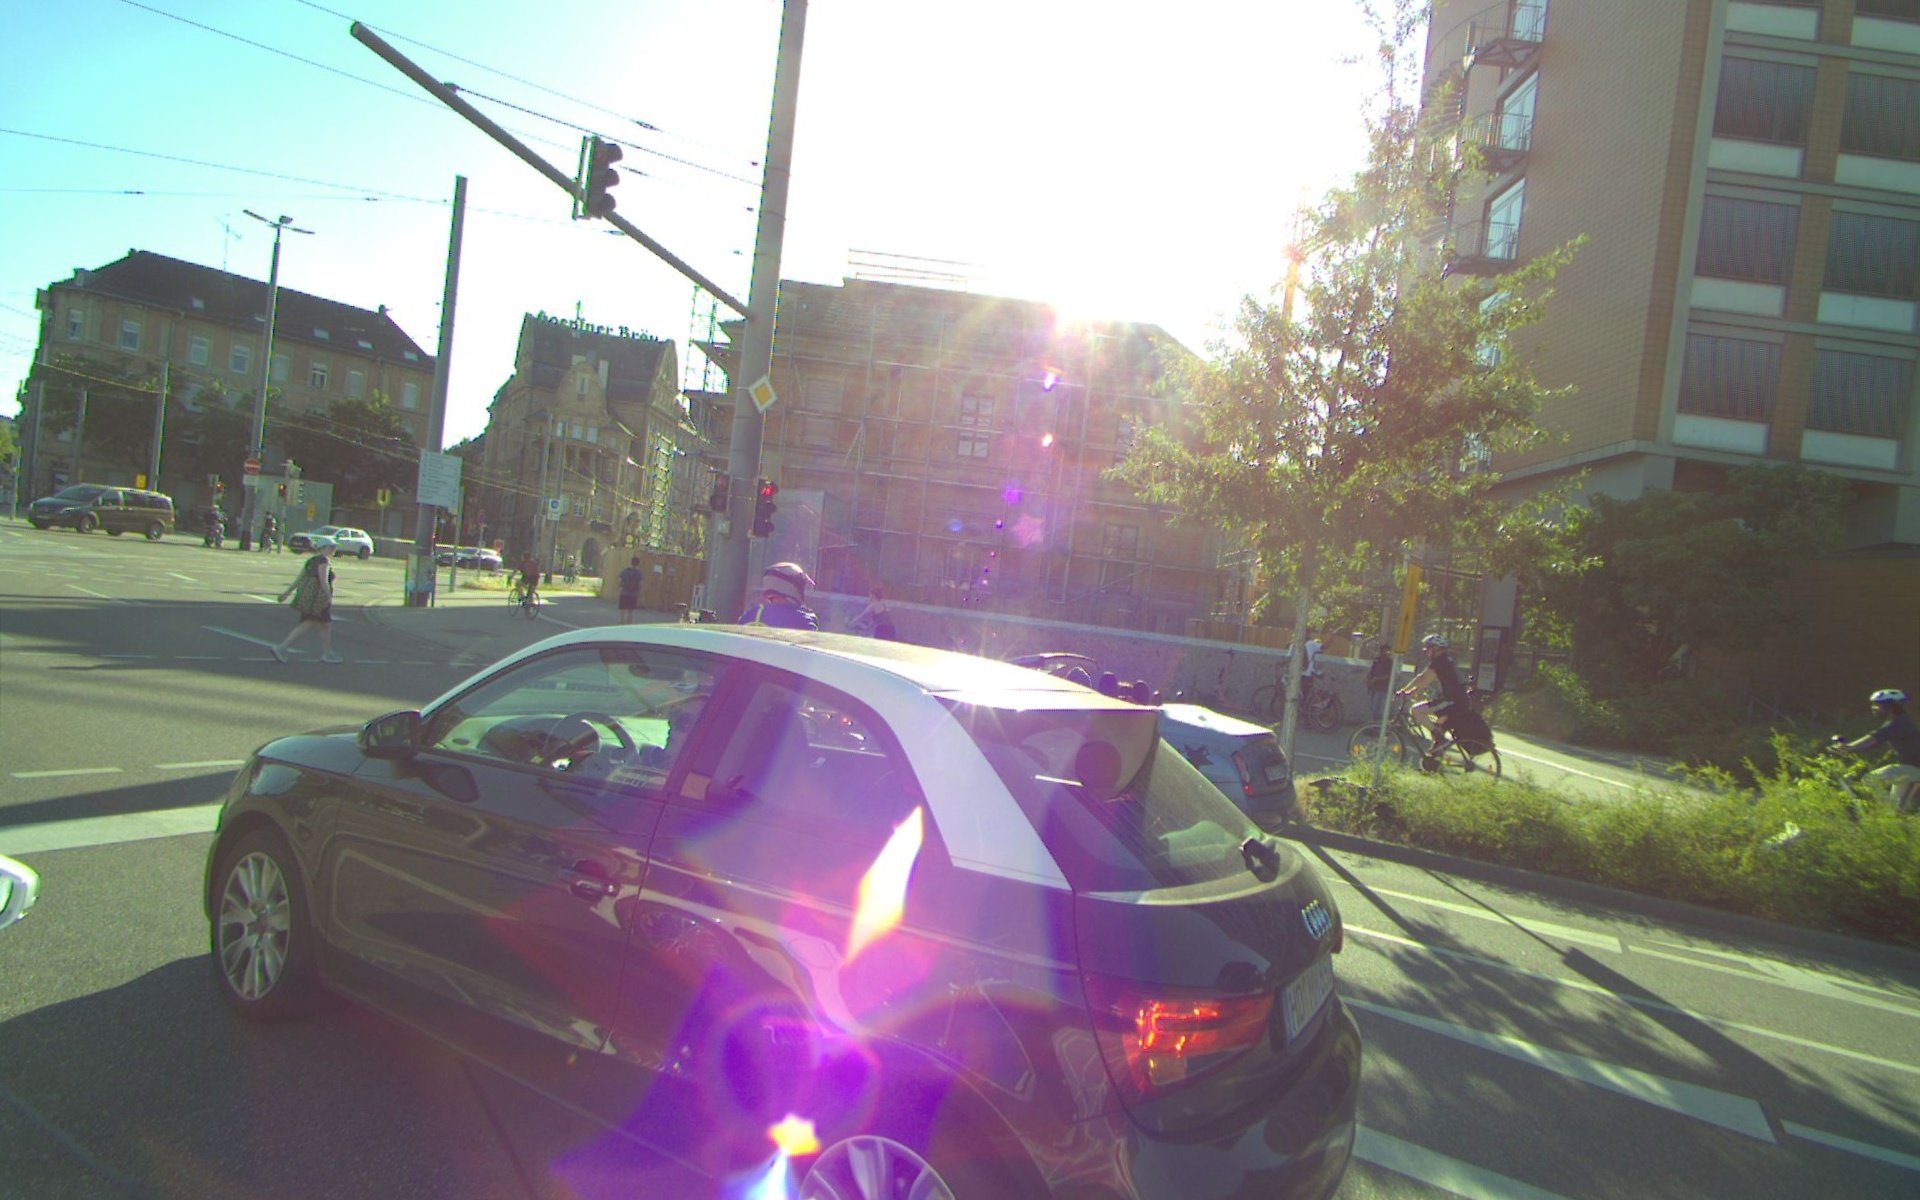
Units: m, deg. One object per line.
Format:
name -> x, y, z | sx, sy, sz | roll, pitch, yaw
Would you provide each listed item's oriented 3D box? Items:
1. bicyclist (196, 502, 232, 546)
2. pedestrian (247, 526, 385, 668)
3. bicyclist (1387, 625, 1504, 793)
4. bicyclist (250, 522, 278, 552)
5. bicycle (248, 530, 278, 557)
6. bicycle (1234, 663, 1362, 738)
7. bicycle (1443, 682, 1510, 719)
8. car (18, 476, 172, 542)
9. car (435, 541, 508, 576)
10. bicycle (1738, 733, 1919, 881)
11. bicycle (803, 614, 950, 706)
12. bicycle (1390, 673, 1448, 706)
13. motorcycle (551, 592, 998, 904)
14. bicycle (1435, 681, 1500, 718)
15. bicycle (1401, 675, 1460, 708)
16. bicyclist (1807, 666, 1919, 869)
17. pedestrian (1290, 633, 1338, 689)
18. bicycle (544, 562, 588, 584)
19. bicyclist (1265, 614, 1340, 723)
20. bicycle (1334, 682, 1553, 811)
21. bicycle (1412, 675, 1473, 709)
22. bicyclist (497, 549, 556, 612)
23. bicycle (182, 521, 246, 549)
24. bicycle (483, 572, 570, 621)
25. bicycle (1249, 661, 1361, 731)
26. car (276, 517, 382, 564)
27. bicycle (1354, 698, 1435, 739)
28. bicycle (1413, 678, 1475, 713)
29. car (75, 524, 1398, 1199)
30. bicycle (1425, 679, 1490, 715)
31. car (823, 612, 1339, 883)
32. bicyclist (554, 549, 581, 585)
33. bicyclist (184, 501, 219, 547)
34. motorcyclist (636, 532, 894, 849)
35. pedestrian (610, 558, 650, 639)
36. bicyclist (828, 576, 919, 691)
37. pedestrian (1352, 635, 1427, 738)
bicyclist -> -31.490, -3.206, 42.476 | 0.844, 1.711, 0.651 | 8, 1, 1
pedestrian -> -8.015, -0.009, 12.561 | 0.686, 1.626, 1.096 | 9, 1, 21
bicyclist -> 5.966, 1.309, 12.401 | 1.074, 1.853, 0.779 | 7, 1, 26
bicyclist -> -30.480, -2.761, 44.051 | 0.854, 1.191, 0.707 | 8, 1, -39
bicycle -> -30.547, -2.484, 44.088 | 0.854, 0.916, 2.278 | 8, 0, -38
bicycle -> 6.017, 1.759, 17.983 | 1.935, 1.052, 0.788 | 6, 2, 40
bicycle -> 15.327, 2.977, 29.844 | 1.623, 0.868, 0.529 | 7, 1, 1
car -> -34.042, -3.522, 39.826 | 1.918, 1.916, 4.848 | 7, 0, -3
car -> -30.806, -2.591, 63.611 | 1.915, 1.582, 4.360 | 9, 0, 8
bicycle -> 9.450, 2.142, 10.042 | 2.543, 1.170, 0.777 | 7, 1, 39
bicycle -> -1.375, 0.939, 16.254 | 2.252, 1.172, 0.778 | 7, 3, 30
bicycle -> 15.509, 3.024, 33.985 | 1.623, 0.868, 0.529 | 7, 1, 1
motorcycle -> -1.228, 0.807, 6.353 | 2.610, 1.394, 1.097 | 6, -1, 33
bicycle -> 15.335, 2.995, 30.406 | 1.623, 0.868, 0.529 | 7, 1, 1
bicycle -> 15.572, 3.015, 33.327 | 1.623, 0.868, 0.529 | 7, 1, 1
bicyclist -> 9.372, 1.672, 10.141 | 1.077, 1.856, 0.777 | 7, 1, 39
pedestrian -> 13.904, 2.384, 39.513 | 1.276, 2.039, 0.995 | 7, 1, -5
bicycle -> -20.494, -1.398, 52.406 | 0.844, 0.885, 2.503 | 9, 0, 11
bicyclist -> 6.100, 1.211, 17.928 | 0.881, 1.810, 0.785 | 6, 2, 40
bicycle -> 5.904, 1.754, 12.413 | 2.250, 1.170, 0.779 | 7, 1, 26
bicycle -> 15.636, 2.985, 32.610 | 1.623, 0.868, 0.529 | 7, 1, 1
bicyclist -> -10.498, -0.474, 24.348 | 1.058, 1.401, 0.721 | 5, -1, 32
bicycle -> -31.556, -2.736, 42.614 | 0.844, 0.916, 2.303 | 9, 0, 1
bicycle -> -10.504, -0.101, 24.326 | 2.212, 0.964, 0.721 | 5, -1, 32
bicycle -> 6.448, 1.778, 18.887 | 0.621, 1.052, 1.946 | 4, 1, -33
car -> -32.579, -3.018, 52.152 | 1.916, 1.821, 4.852 | 7, 0, 7
bicycle -> 8.270, 2.258, 19.203 | 1.332, 0.547, 0.430 | 7, 2, 18
bicycle -> 15.204, 2.992, 31.614 | 1.623, 0.868, 0.529 | 7, 1, 1
car -> -0.826, 0.746, 3.317 | 3.909, 1.461, 1.805 | 7, -1, 29
bicycle -> 15.313, 2.997, 30.988 | 1.623, 0.868, 0.529 | 7, 1, 1
car -> 0.946, 1.102, 8.690 | 3.916, 1.461, 1.802 | 7, -2, 35
bicyclist -> -20.437, -1.694, 52.441 | 0.844, 1.711, 0.748 | 9, 1, 11
bicyclist -> -31.536, -3.149, 41.825 | 0.851, 1.800, 0.584 | 7, 1, 2
motorcyclist -> -1.207, 0.541, 6.361 | 0.921, 1.742, 1.097 | 6, -1, 33
pedestrian -> -7.319, -0.043, 22.305 | 0.688, 1.693, 0.825 | 5, 2, -20
bicyclist -> -1.399, 0.529, 16.262 | 1.074, 1.700, 0.778 | 7, 4, 30
pedestrian -> 7.612, 1.530, 17.843 | 0.803, 1.677, 0.781 | 9, -2, -42
